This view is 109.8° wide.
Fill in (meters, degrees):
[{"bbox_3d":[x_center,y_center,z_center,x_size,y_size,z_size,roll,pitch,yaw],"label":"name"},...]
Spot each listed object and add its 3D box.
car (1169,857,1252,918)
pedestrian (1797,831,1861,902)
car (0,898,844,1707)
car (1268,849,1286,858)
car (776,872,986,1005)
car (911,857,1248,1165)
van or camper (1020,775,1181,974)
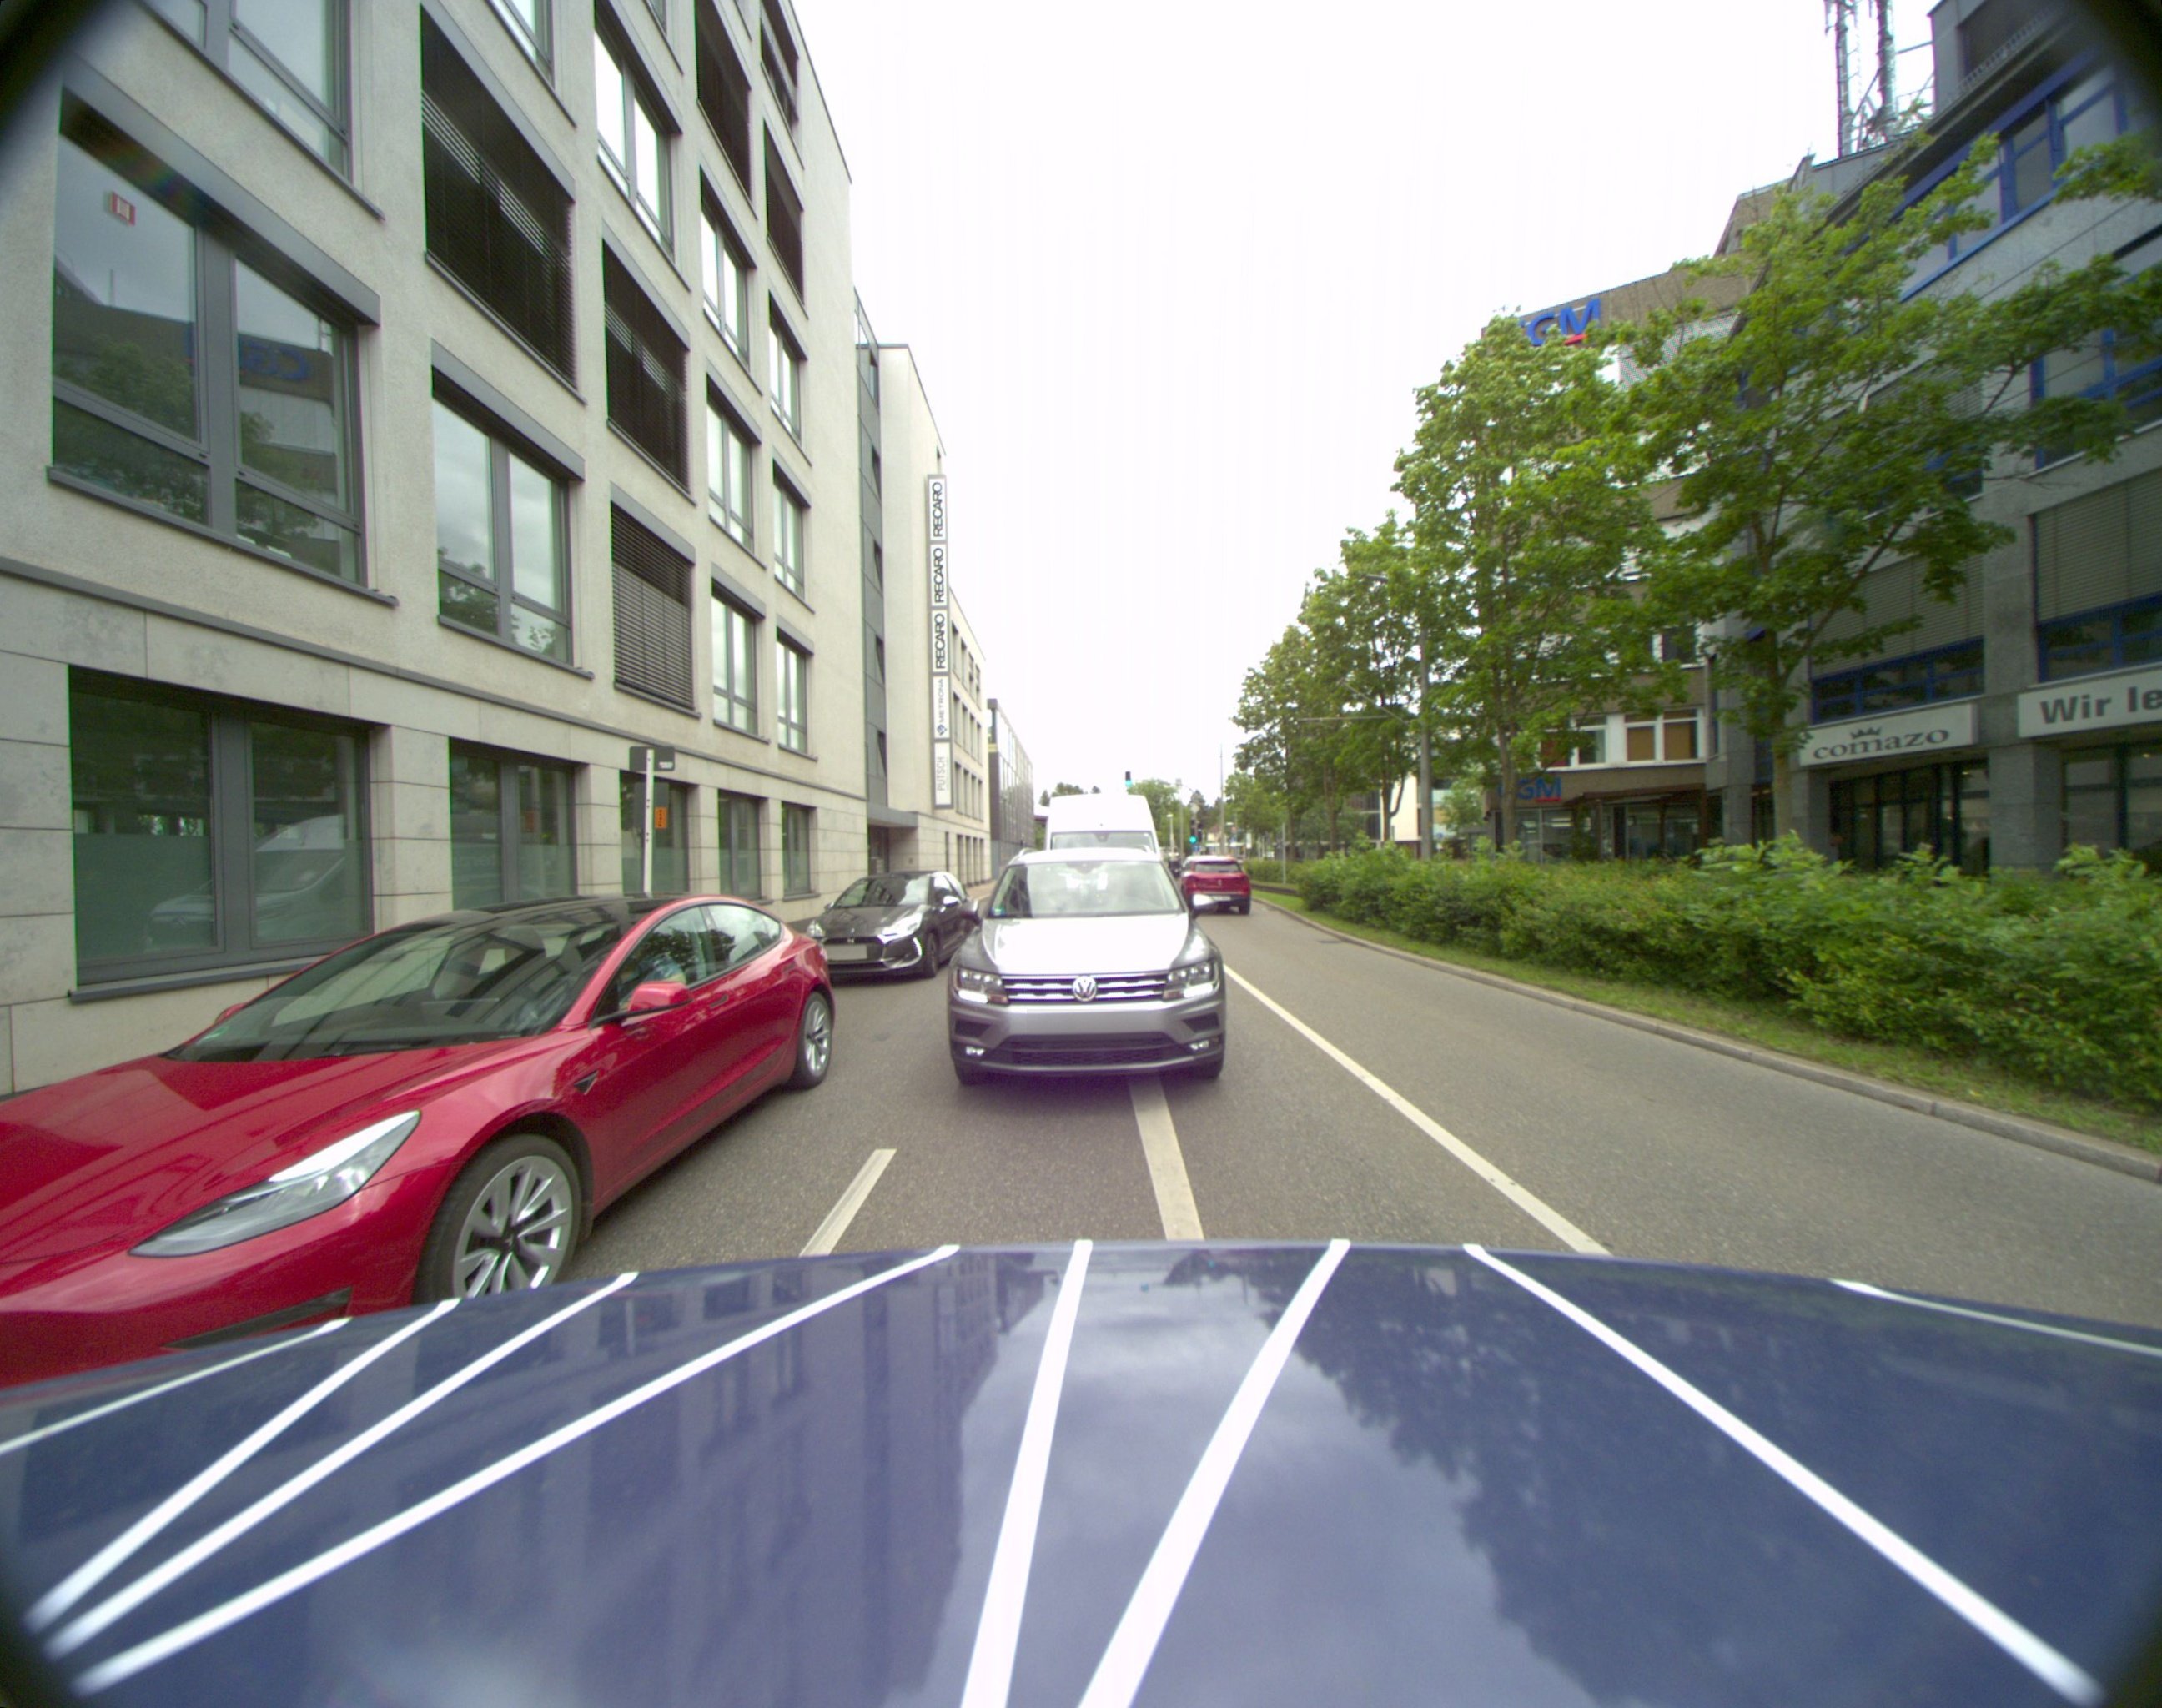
[{"bbox_3d":[3.640,0.875,21.990,1.754,1.579,4.135,0,0,1],"label":"car"},{"bbox_3d":[16.296,0.274,16.567,0.699,1.474,0.678,-3,0,-9],"label":"pedestrian"},{"bbox_3d":[-2.801,1.095,3.698,1.878,1.410,4.442,-3,0,-1],"label":"car"},{"bbox_3d":[46.703,-0.131,181.341,4.007,1.888,1.995,-3,1,-37],"label":"car"},{"bbox_3d":[-2.734,1.105,11.417,1.704,1.452,4.063,-3,0,5],"label":"car"},{"bbox_3d":[0.020,0.905,6.480,1.833,1.636,4.326,-3,0,1],"label":"car"},{"bbox_3d":[0.299,0.280,13.758,2.110,2.674,6.299,-3,0,0],"label":"van or camper"}]
